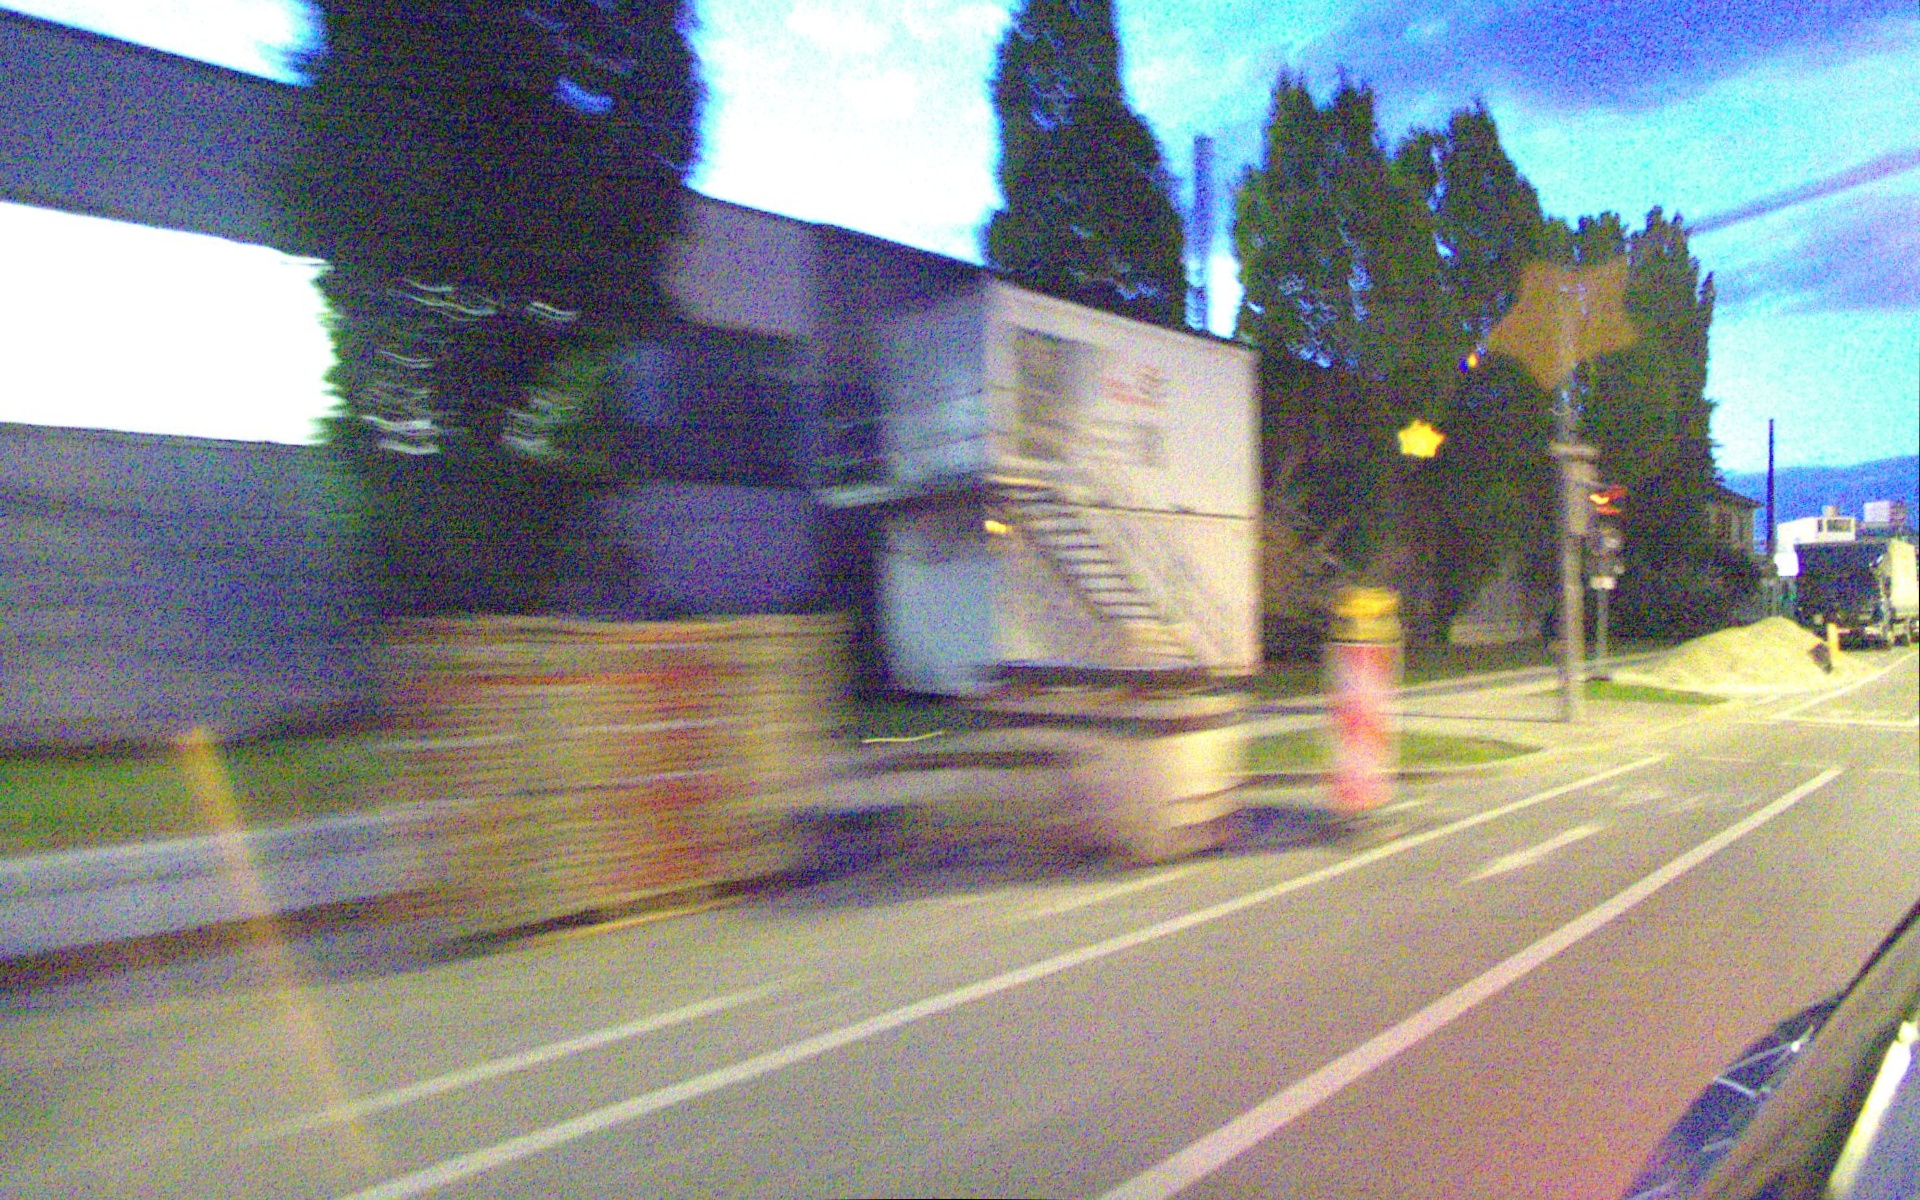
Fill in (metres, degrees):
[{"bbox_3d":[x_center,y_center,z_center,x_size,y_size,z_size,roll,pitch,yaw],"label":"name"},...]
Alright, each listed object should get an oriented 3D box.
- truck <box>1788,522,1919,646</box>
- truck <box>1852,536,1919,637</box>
[{"bbox_3d":[31.850,-0.542,35.464,10.048,3.831,2.759,-1,0,-41],"label":"truck"},{"bbox_3d":[39.578,-0.560,41.883,8.977,3.831,2.760,-1,0,-41],"label":"truck"}]
